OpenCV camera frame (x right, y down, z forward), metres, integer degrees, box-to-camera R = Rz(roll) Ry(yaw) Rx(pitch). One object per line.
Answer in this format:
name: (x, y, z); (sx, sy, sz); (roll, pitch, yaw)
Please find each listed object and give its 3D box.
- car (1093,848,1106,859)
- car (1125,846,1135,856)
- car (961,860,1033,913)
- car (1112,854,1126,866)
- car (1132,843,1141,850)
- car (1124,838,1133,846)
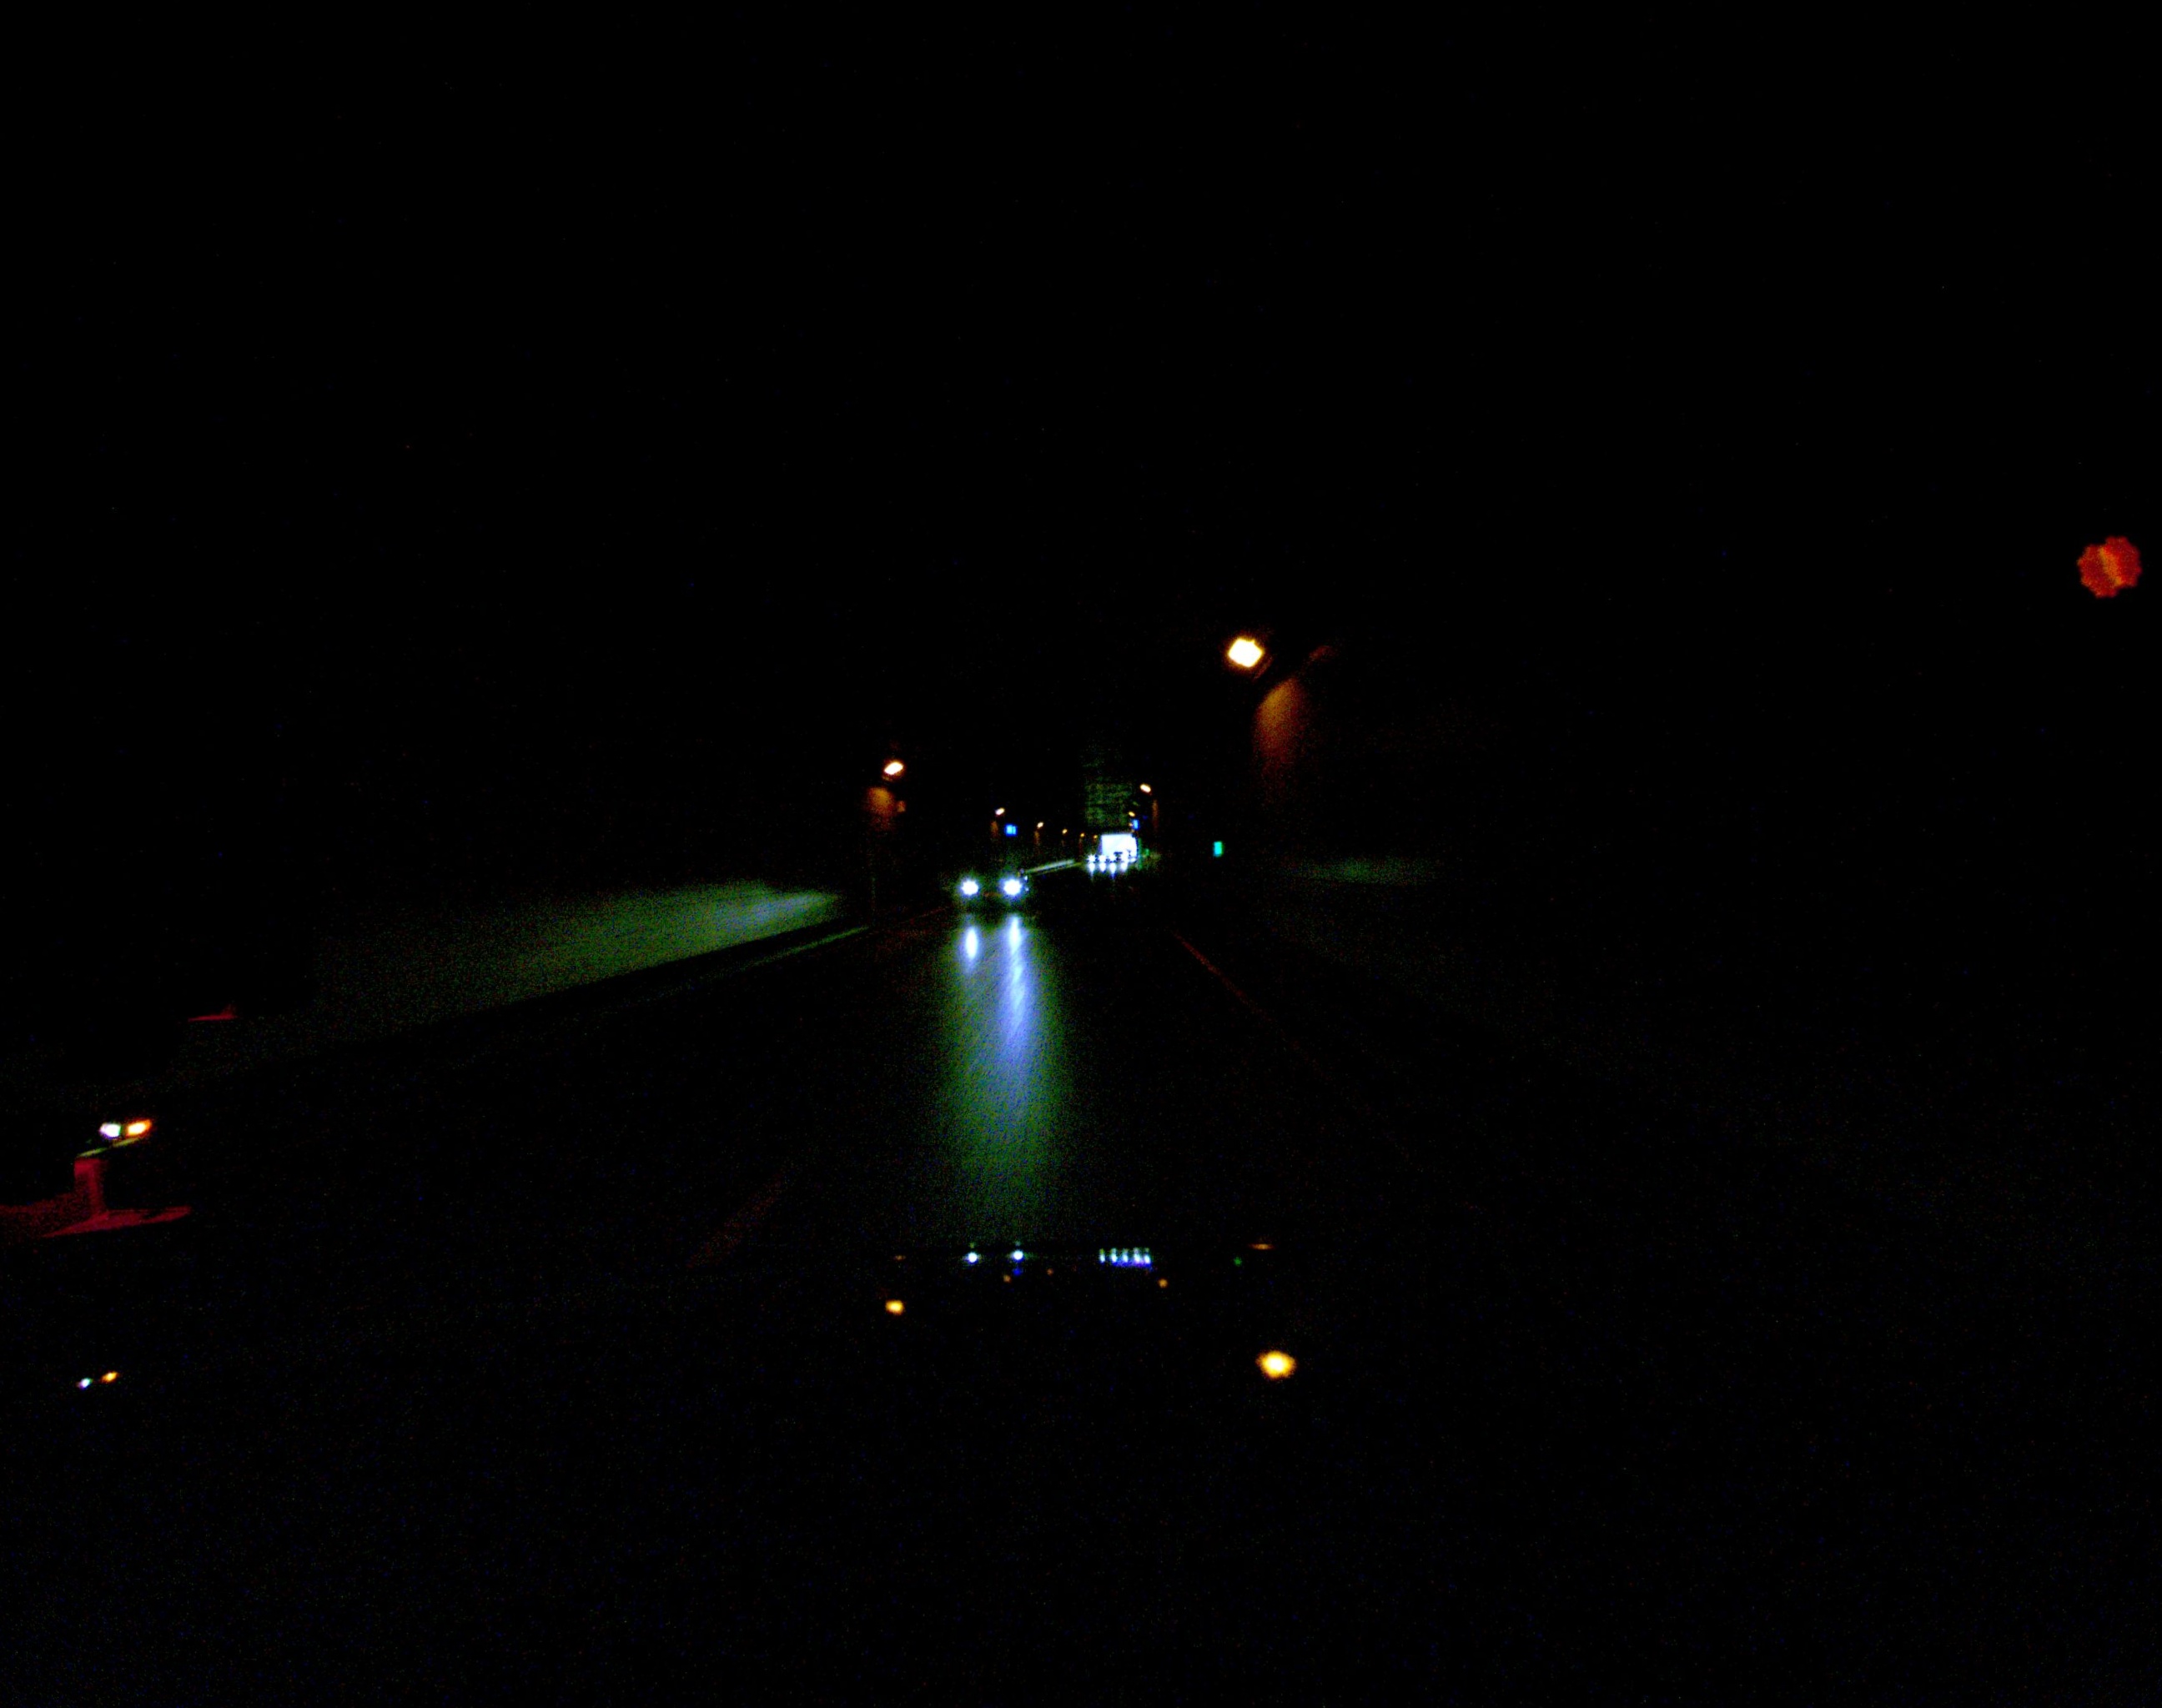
car: (2.755, -0.088, 110.230); (1.735, 1.565, 4.001); (-3, 0, 3)
car: (9.197, -0.628, 141.593); (1.714, 1.729, 4.000); (-2, 2, 6)
car: (-2.521, 0.939, 23.592); (1.735, 1.395, 3.798); (-1, 1, 0)
car: (5.208, 0.772, 104.252); (1.819, 1.589, 4.001); (0, 0, 4)
car: (12.957, -1.667, 177.291); (1.810, 1.576, 4.003); (-2, 0, 10)
car: (11.716, -3.027, 187.504); (1.997, 1.904, 4.002); (-2, 1, 8)
